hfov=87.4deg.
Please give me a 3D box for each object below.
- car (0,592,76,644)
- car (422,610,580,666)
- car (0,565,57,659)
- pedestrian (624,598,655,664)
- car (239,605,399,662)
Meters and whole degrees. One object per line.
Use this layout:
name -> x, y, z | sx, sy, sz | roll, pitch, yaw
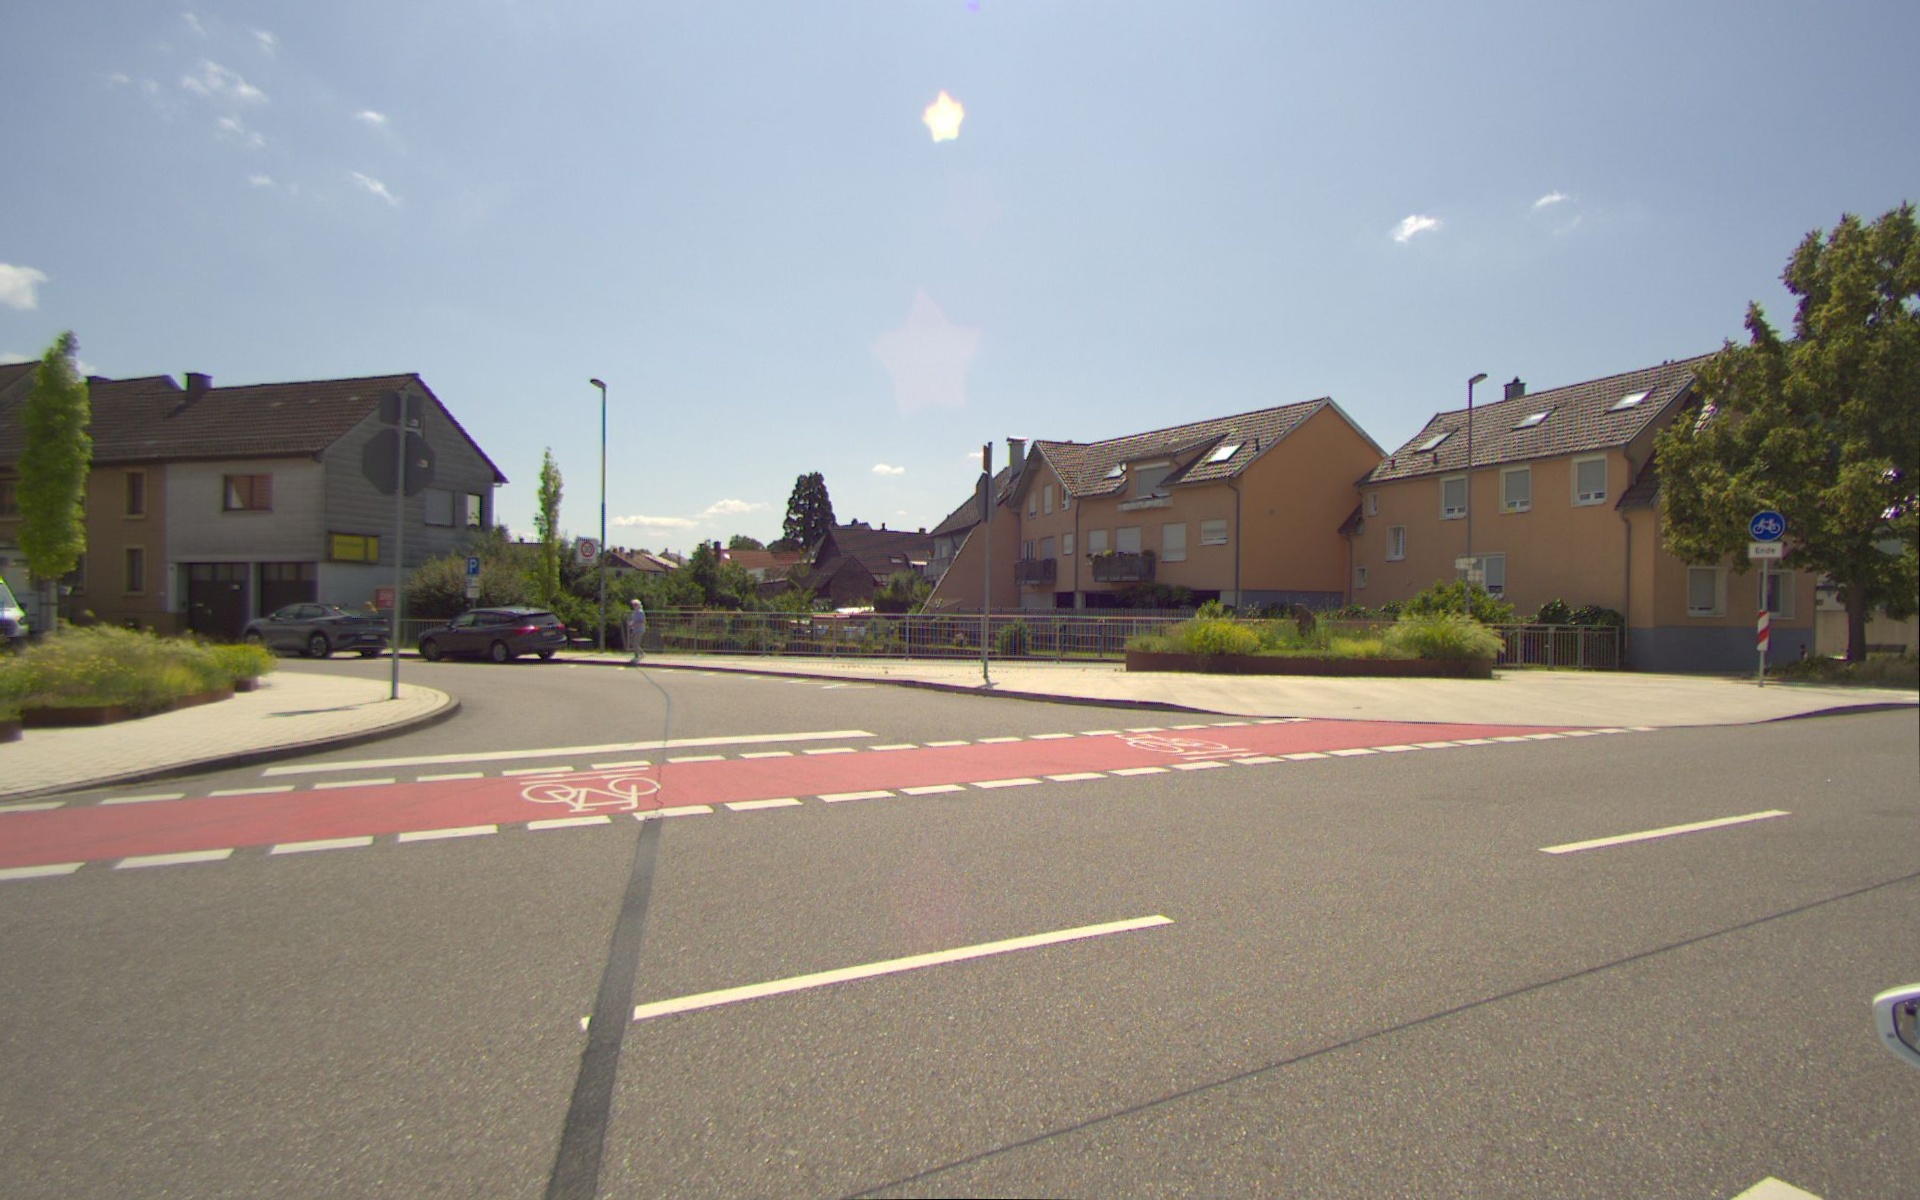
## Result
car -> -33.844, 0.626, 35.431 | 3.919, 1.750, 2.071 | 1, -1, 13
car -> -12.994, 1.036, 28.472 | 3.922, 1.483, 1.861 | 0, -1, 21
car -> -26.406, 0.286, 26.269 | 5.013, 2.376, 2.173 | 0, -2, 23
pedestrian -> -8.741, 0.833, 27.427 | 0.603, 1.772, 0.506 | 1, 0, 25
car -> -19.112, 0.977, 29.964 | 4.150, 1.567, 1.788 | 0, -2, 19
